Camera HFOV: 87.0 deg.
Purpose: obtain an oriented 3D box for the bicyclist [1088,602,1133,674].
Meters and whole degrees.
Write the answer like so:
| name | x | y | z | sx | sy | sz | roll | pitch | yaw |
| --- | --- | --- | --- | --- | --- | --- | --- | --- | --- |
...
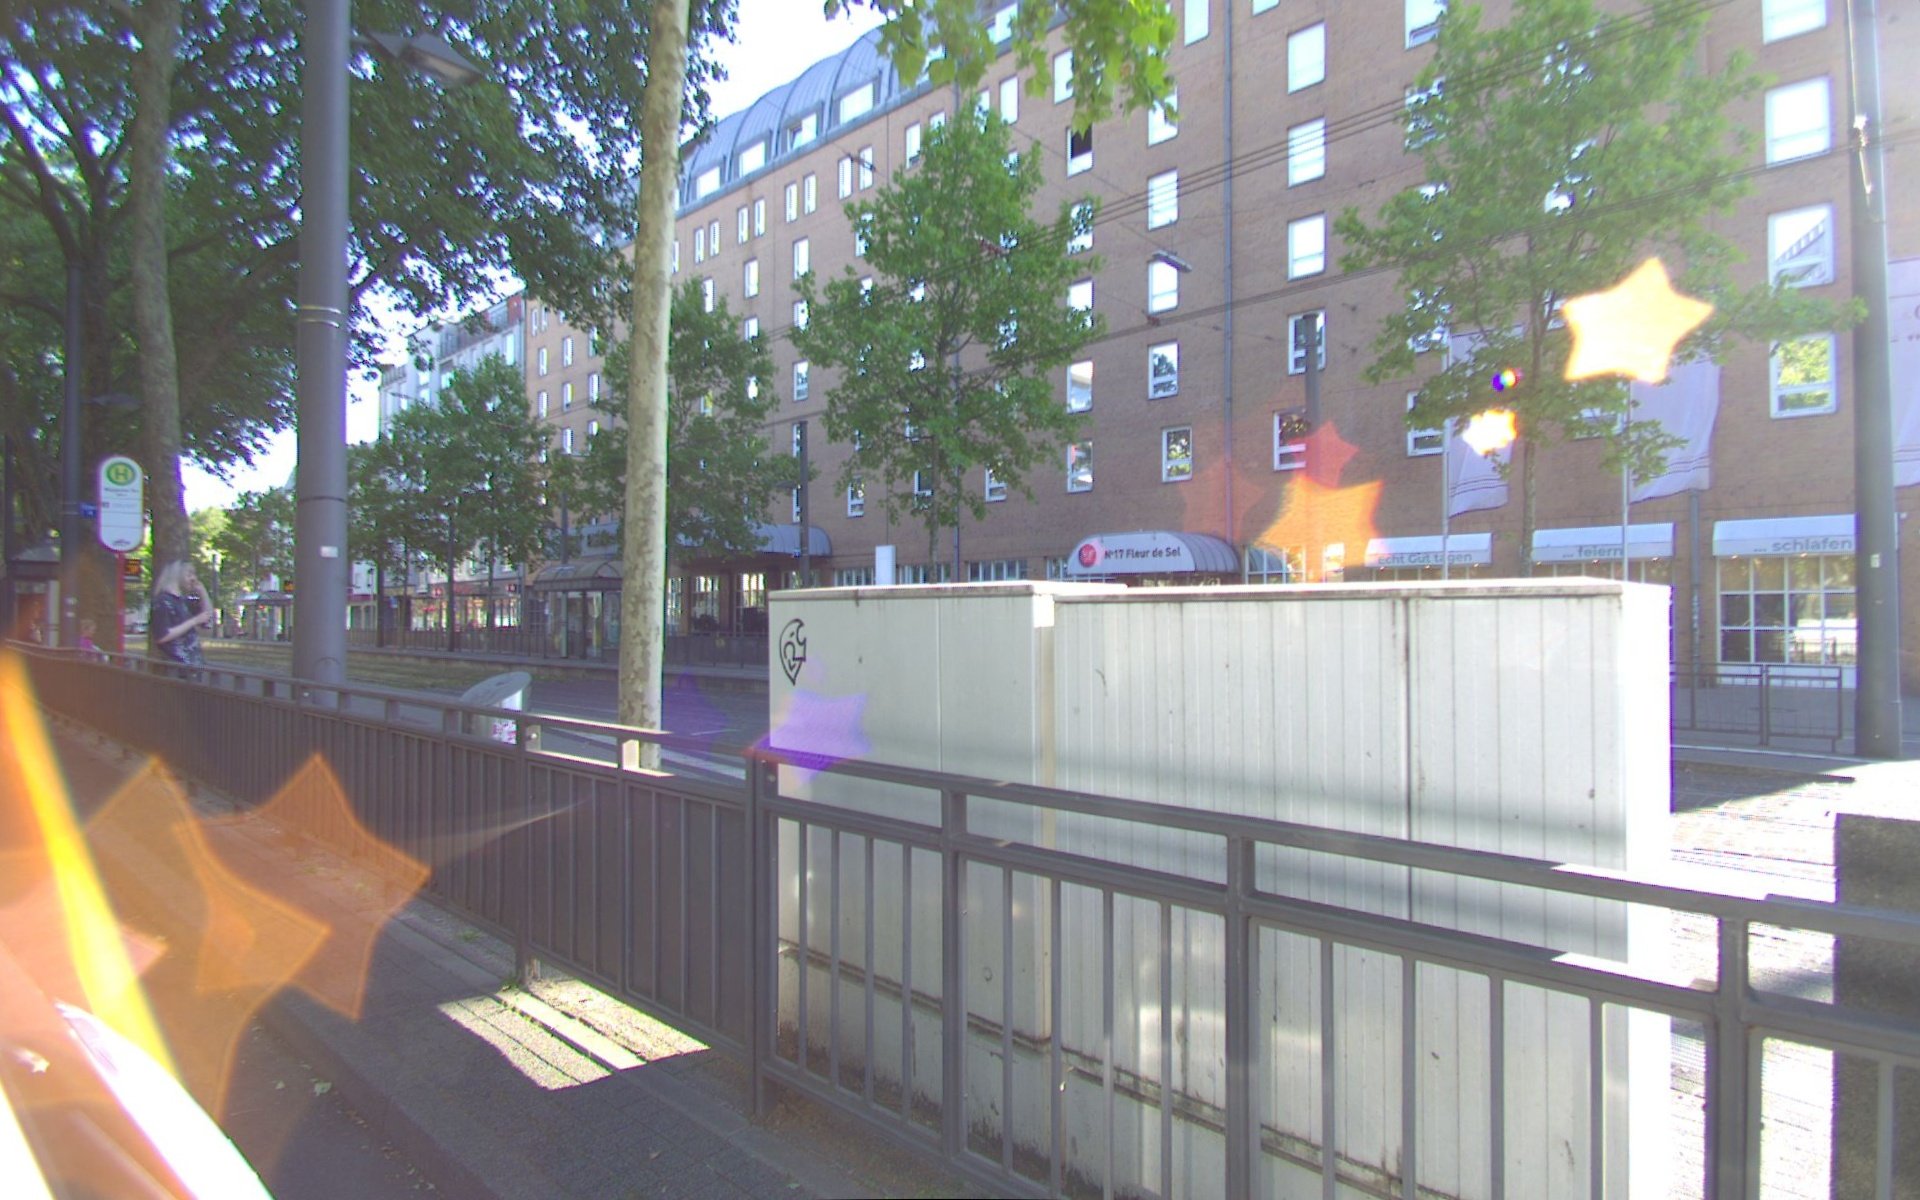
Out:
| name | x | y | z | sx | sy | sz | roll | pitch | yaw |
| --- | --- | --- | --- | --- | --- | --- | --- | --- | --- |
| bicyclist | 3.848 | 0.955 | 25.853 | 0.852 | 1.799 | 0.742 | -2 | -3 | 44 |

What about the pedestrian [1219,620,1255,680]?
| name | x | y | z | sx | sy | sz | roll | pitch | yaw |
| --- | --- | --- | --- | --- | --- | --- | --- | --- | --- |
| pedestrian | 7.592 | 1.367 | 27.725 | 0.725 | 1.596 | 0.583 | -3 | 0 | 40 |

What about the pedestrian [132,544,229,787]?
| name | x | y | z | sx | sy | sz | roll | pitch | yaw |
| --- | --- | --- | --- | --- | --- | --- | --- | --- | --- |
| pedestrian | -6.495 | 0.518 | 8.426 | 0.760 | 1.914 | 0.504 | -1 | 0 | 42 |

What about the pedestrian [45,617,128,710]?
| name | x | y | z | sx | sy | sz | roll | pitch | yaw |
| --- | --- | --- | --- | --- | --- | --- | --- | --- | --- |
| pedestrian | -14.074 | 0.998 | 16.309 | 0.965 | 1.410 | 0.665 | -1 | 0 | -44 |

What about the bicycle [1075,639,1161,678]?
| name | x | y | z | sx | sy | sz | roll | pitch | yaw |
| --- | --- | --- | --- | --- | --- | --- | --- | --- | --- |
| bicycle | 3.989 | 1.468 | 25.705 | 2.185 | 0.940 | 0.658 | -2 | -2 | 44 |

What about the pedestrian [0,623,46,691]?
| name | x | y | z | sx | sy | sz | roll | pitch | yaw |
| --- | --- | --- | --- | --- | --- | --- | --- | --- | --- |
| pedestrian | -20.138 | 1.210 | 21.736 | 0.725 | 1.398 | 0.641 | -1 | 0 | -44 |
